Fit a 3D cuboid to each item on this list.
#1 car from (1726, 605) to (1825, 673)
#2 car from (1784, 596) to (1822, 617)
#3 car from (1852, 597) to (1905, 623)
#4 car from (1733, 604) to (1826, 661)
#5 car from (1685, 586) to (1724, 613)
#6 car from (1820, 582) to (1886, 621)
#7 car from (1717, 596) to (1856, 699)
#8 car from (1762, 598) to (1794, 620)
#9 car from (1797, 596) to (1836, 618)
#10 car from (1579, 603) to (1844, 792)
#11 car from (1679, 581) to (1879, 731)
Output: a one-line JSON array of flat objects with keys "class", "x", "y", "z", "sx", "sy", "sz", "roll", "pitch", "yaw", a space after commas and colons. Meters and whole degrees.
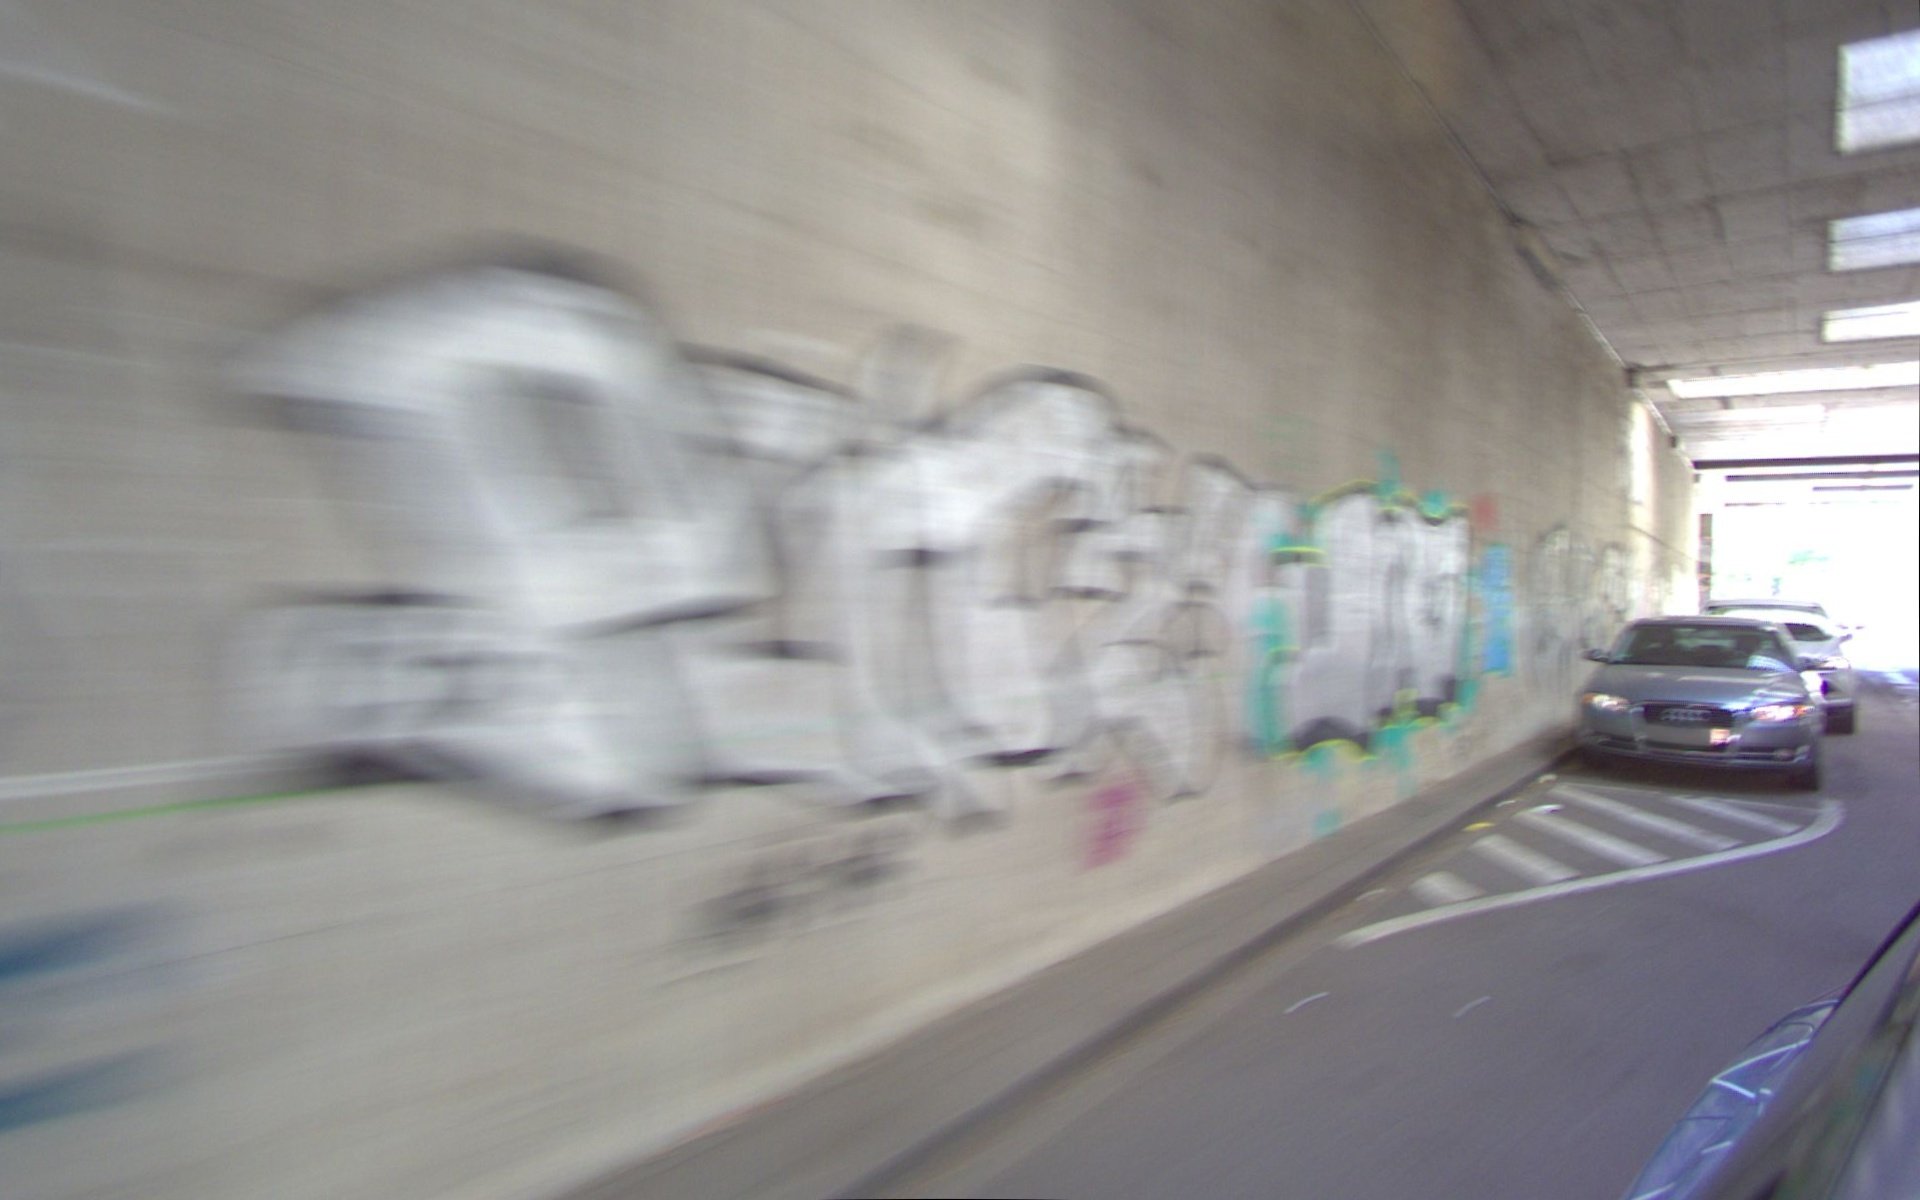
[{"class": "car", "x": 19.951, "y": 0.878, "z": 24.782, "sx": 1.759, "sy": 1.428, "sz": 4.005, "roll": 1, "pitch": 1, "yaw": 39}, {"class": "car", "x": 67.971, "y": 0.511, "z": 81.667, "sx": 1.771, "sy": 1.576, "sz": 3.780, "roll": 1, "pitch": 1, "yaw": 31}, {"class": "car", "x": 56.900, "y": 0.596, "z": 62.754, "sx": 1.679, "sy": 1.481, "sz": 3.956, "roll": 1, "pitch": 1, "yaw": 31}, {"class": "car", "x": 23.634, "y": 0.881, "z": 29.121, "sx": 1.850, "sy": 1.451, "sz": 4.537, "roll": -1, "pitch": 0, "yaw": 42}, {"class": "car", "x": 60.037, "y": 0.007, "z": 81.670, "sx": 1.980, "sy": 2.055, "sz": 4.258, "roll": 1, "pitch": 0, "yaw": 29}, {"class": "car", "x": 59.785, "y": 0.072, "z": 67.881, "sx": 2.201, "sy": 2.482, "sz": 5.043, "roll": 1, "pitch": 1, "yaw": 29}, {"class": "car", "x": 14.636, "y": 0.743, "z": 18.094, "sx": 1.725, "sy": 1.565, "sz": 4.100, "roll": 1, "pitch": 1, "yaw": 37}, {"class": "car", "x": 73.498, "y": 0.811, "z": 90.972, "sx": 1.764, "sy": 1.905, "sz": 3.954, "roll": 1, "pitch": 0, "yaw": 32}, {"class": "car", "x": 65.668, "y": 0.502, "z": 77.655, "sx": 1.682, "sy": 1.576, "sz": 3.780, "roll": 1, "pitch": 1, "yaw": 31}, {"class": "car", "x": 7.305, "y": 0.731, "z": 9.760, "sx": 1.698, "sy": 1.392, "sz": 4.311, "roll": 0, "pitch": 0, "yaw": 39}, {"class": "car", "x": 11.063, "y": 0.648, "z": 13.714, "sx": 1.850, "sy": 1.687, "sz": 4.307, "roll": 1, "pitch": 0, "yaw": 40}]
